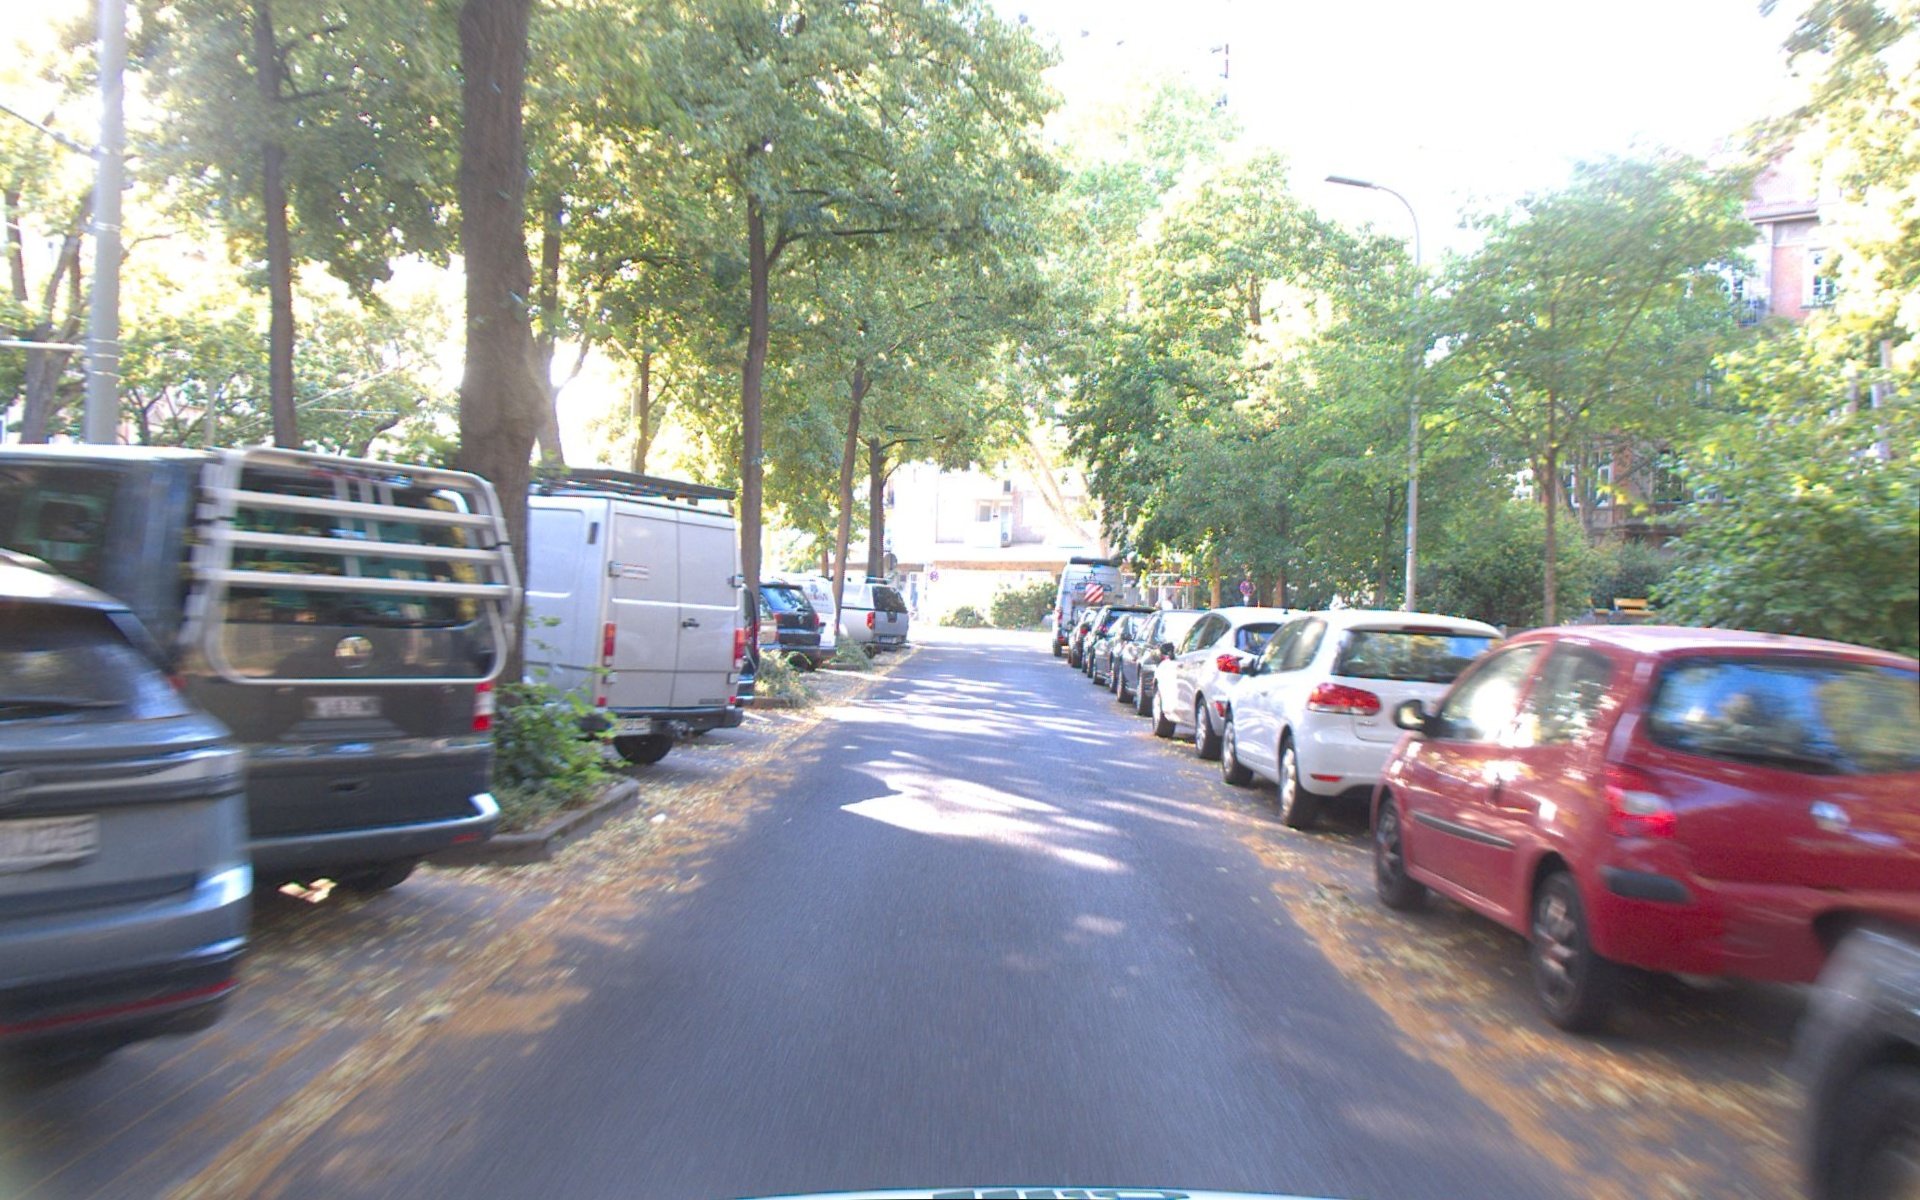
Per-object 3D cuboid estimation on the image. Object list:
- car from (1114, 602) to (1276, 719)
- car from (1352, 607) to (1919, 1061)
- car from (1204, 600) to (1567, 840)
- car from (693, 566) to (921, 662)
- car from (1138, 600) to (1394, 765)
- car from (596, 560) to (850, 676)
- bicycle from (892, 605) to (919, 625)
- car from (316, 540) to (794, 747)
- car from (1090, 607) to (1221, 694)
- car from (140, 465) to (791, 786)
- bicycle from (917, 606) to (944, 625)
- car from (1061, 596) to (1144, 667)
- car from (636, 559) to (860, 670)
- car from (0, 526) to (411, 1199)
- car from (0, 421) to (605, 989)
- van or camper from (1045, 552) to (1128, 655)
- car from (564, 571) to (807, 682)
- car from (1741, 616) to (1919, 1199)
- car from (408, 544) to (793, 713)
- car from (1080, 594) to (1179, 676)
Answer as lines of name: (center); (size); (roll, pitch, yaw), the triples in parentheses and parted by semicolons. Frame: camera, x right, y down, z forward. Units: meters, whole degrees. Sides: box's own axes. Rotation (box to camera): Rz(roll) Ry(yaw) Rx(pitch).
car: (3.242, 0.781, 23.597); (1.646, 1.449, 4.659); (2, 0, 0)
car: (2.982, 0.807, 7.366); (1.558, 1.479, 3.554); (2, 0, -1)
car: (3.021, 0.766, 12.601); (1.646, 1.479, 4.075); (2, 0, -1)
car: (-3.565, 0.319, 38.322); (4.892, 1.812, 1.984); (5, 0, 28)
car: (3.094, 0.779, 17.531); (1.647, 1.479, 4.072); (2, 0, -5)
car: (-4.194, 0.304, 29.099); (4.073, 1.672, 1.910); (4, 0, 32)
bicycle: (-2.900, 0.781, 87.861); (0.631, 1.040, 2.069); (1, 0, -28)
car: (-4.151, 0.398, 16.944); (4.416, 1.644, 1.933); (5, 0, 24)
car: (3.294, 0.821, 28.536); (1.646, 1.305, 4.286); (2, 0, -1)
car: (-4.326, 0.114, 14.193); (5.395, 2.174, 2.077); (5, 0, 30)
bicycle: (-1.550, 0.789, 85.888); (0.538, 0.920, 1.715); (1, 0, -34)
car: (3.377, 0.718, 39.977); (1.646, 1.552, 4.490); (2, 0, 1)
car: (-4.167, 0.264, 32.322); (4.079, 1.812, 1.876); (4, 0, 36)
car: (-3.983, 0.477, 5.046); (4.477, 1.567, 1.929); (5, 0, 33)
car: (-4.105, 0.256, 7.848); (4.616, 1.976, 1.929); (4, 0, 33)
van or camper: (3.688, 0.093, 49.174); (2.041, 2.810, 5.846); (2, 0, 1)
car: (-4.381, 0.417, 26.363); (3.355, 1.450, 1.830); (4, 0, 31)
car: (2.791, 0.809, 2.083); (1.638, 1.479, 3.948); (2, 0, -2)
car: (-4.429, 0.318, 20.223); (4.422, 1.644, 1.850); (5, 0, 30)
car: (3.453, 0.679, 34.395); (1.646, 1.552, 4.288); (2, 0, 1)
